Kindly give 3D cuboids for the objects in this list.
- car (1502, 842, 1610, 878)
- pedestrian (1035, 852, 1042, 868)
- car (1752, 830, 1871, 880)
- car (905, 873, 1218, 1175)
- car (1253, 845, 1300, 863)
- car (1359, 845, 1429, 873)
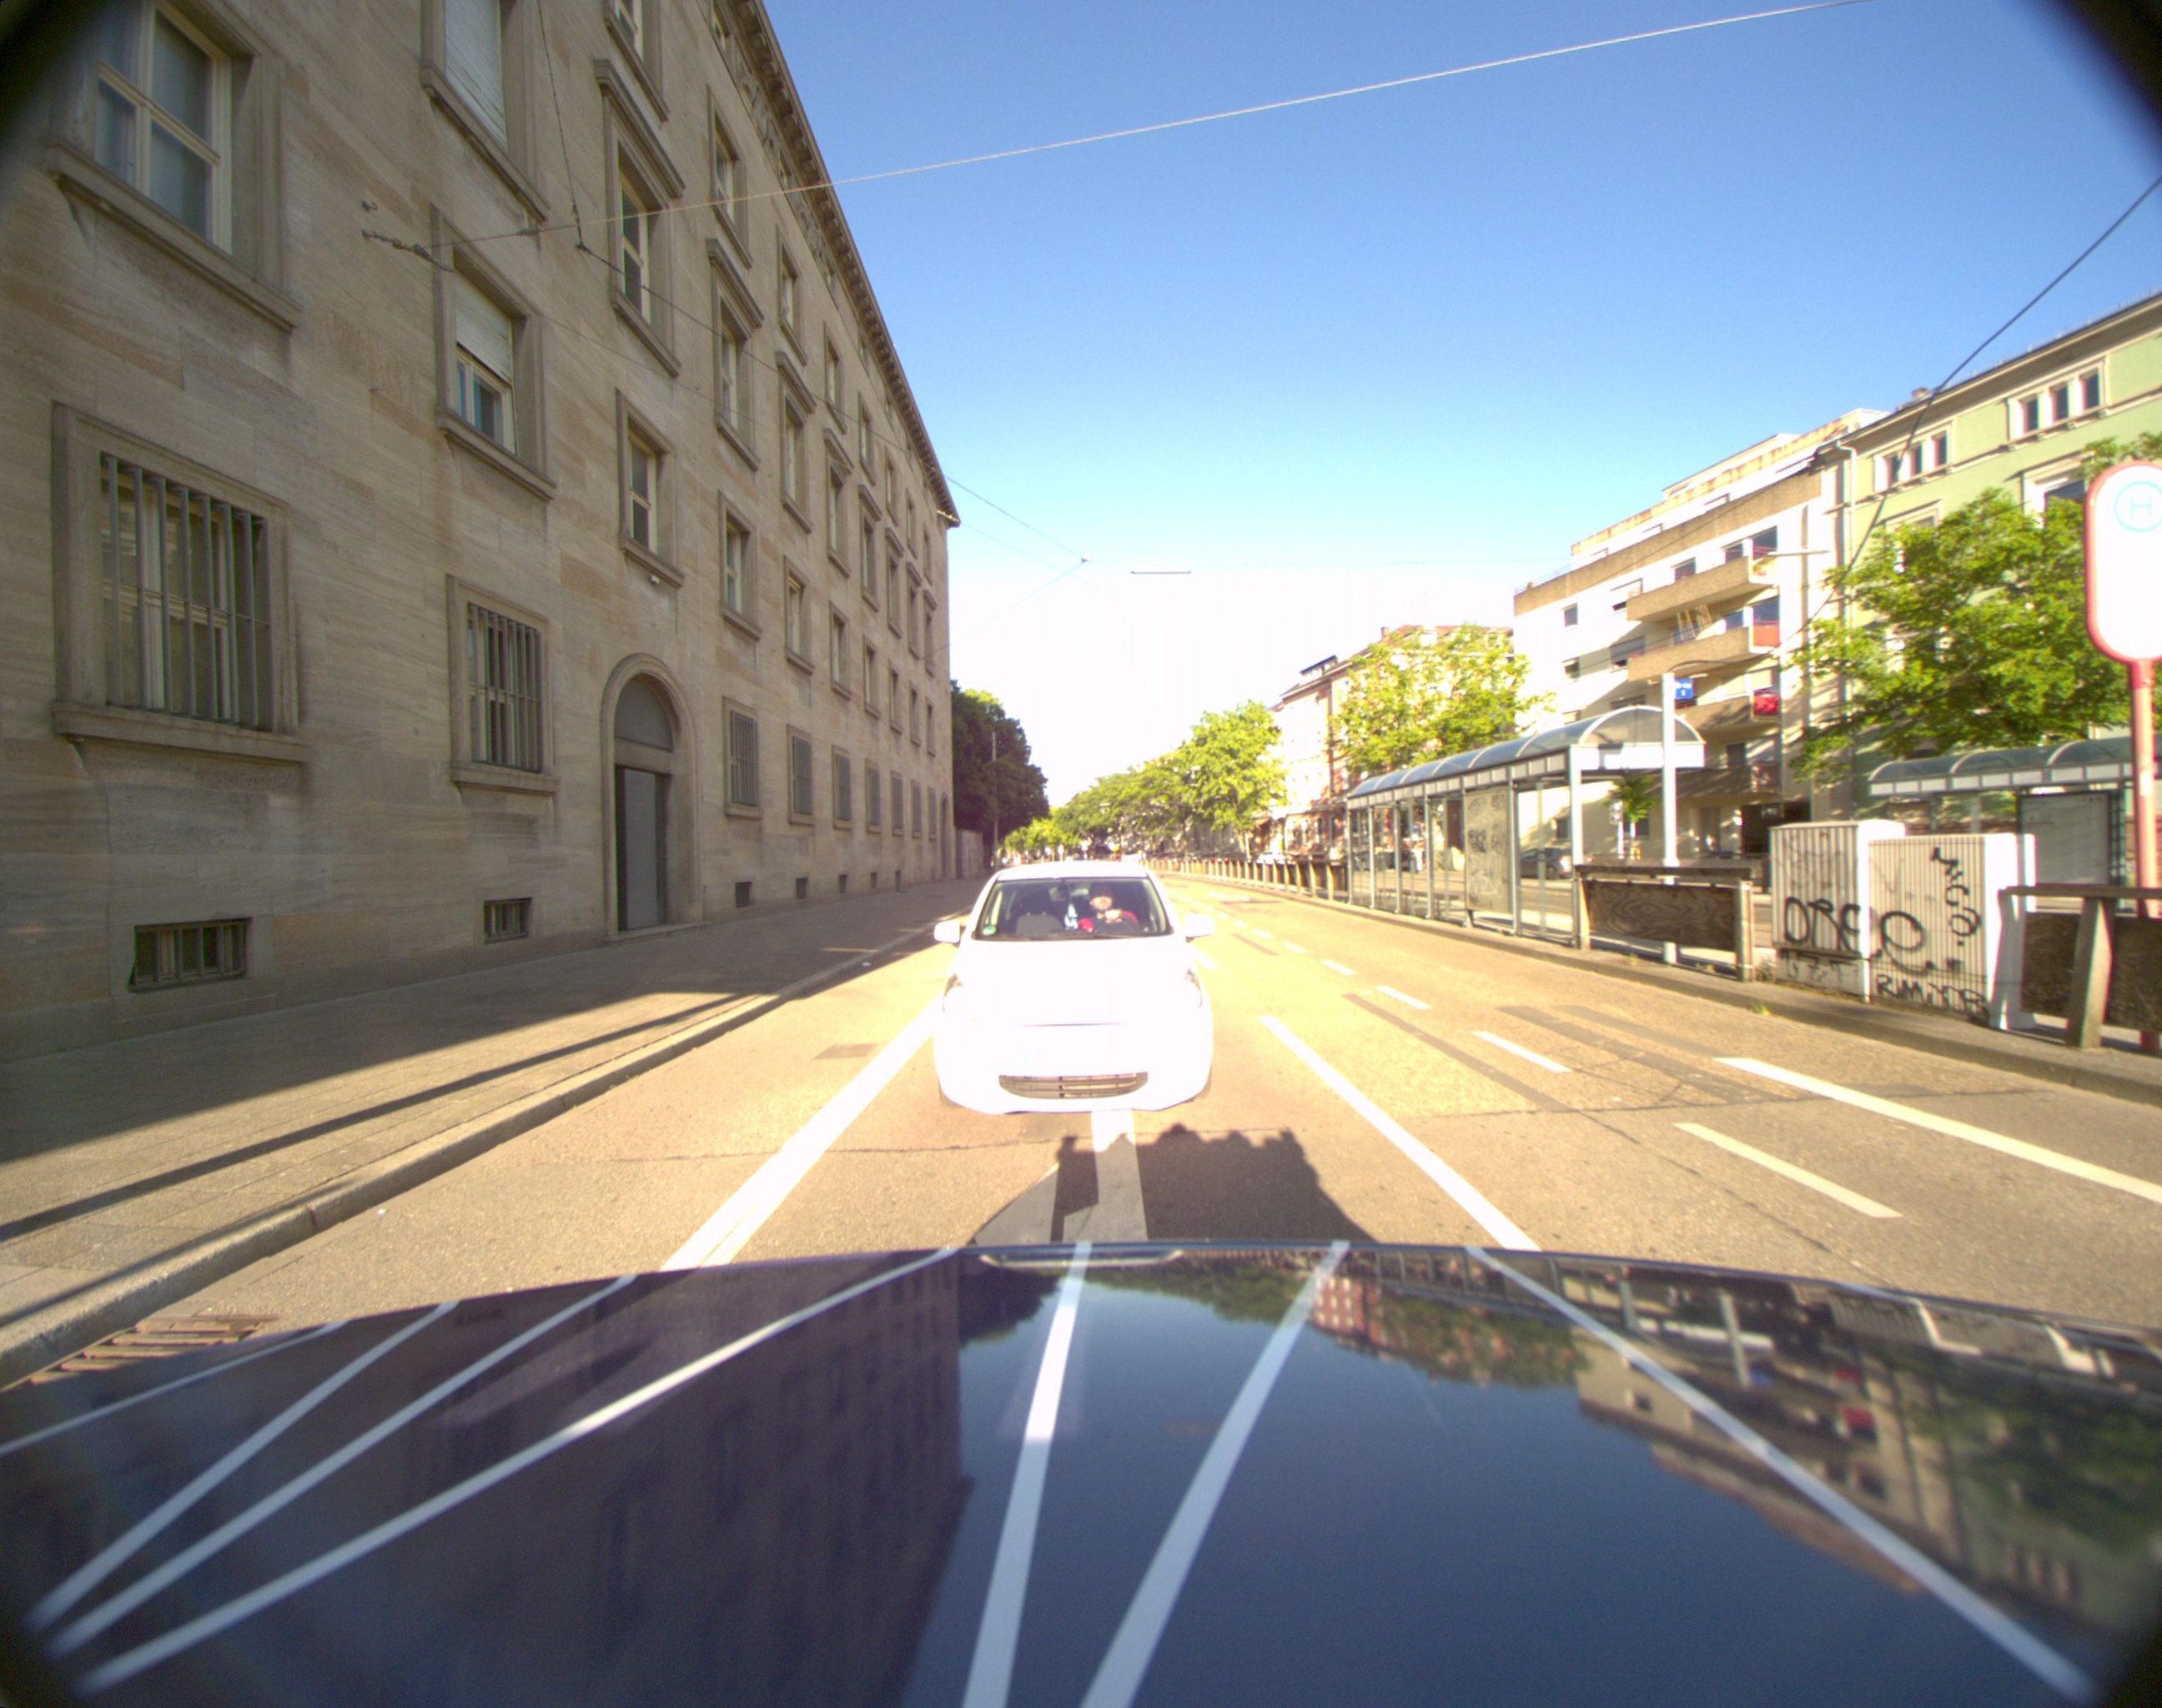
[{"bbox_3d":[21.171,0.268,34.104,2.000,1.521,3.997,0,0,-8],"label":"car"},{"bbox_3d":[-4.487,0.593,81.017,0.686,1.673,0.928,-1,1,-2],"label":"pedestrian"},{"bbox_3d":[31.356,0.023,32.642,4.001,2.002,1.798,-1,1,-13],"label":"car"},{"bbox_3d":[-0.078,0.940,5.804,1.606,1.455,3.621,-1,0,1],"label":"car"},{"bbox_3d":[16.284,0.004,63.269,3.648,1.342,1.578,-2,1,-29],"label":"car"},{"bbox_3d":[18.191,0.277,44.330,2.000,1.521,3.997,-1,0,-8],"label":"car"}]
